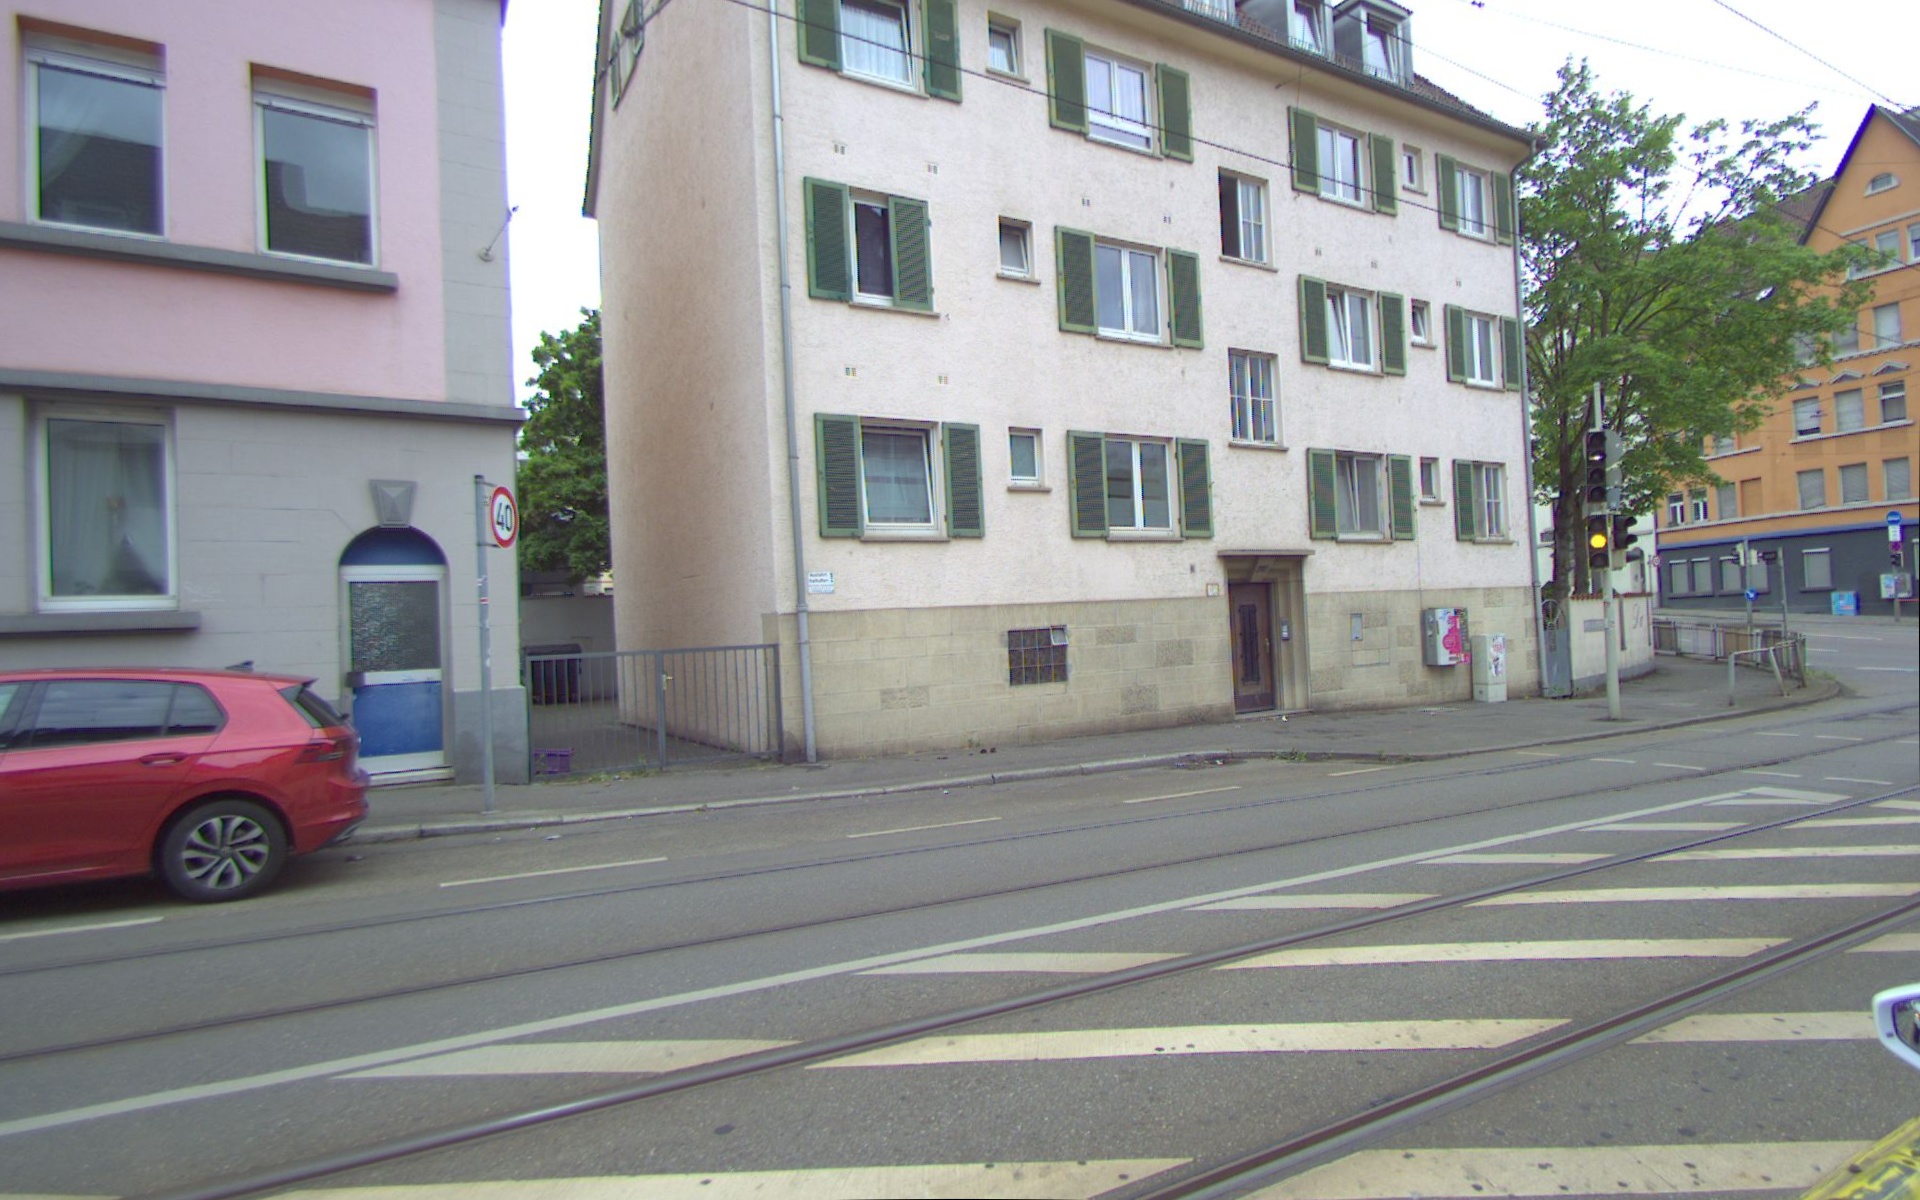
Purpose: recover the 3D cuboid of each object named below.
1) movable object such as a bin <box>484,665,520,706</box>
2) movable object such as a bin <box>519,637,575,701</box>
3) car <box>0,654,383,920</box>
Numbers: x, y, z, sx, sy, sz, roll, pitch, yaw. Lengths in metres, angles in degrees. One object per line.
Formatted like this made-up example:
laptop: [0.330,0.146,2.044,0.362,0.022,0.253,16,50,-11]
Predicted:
movable object such as a bin: [-10.820,2.015,23.717,0.693,0.897,0.677,-1,-1,-30]
movable object such as a bin: [-10.230,1.688,24.886,1.132,1.491,1.079,-1,-1,-30]
car: [-6.051,1.116,6.280,4.211,1.457,1.777,1,-4,-30]
